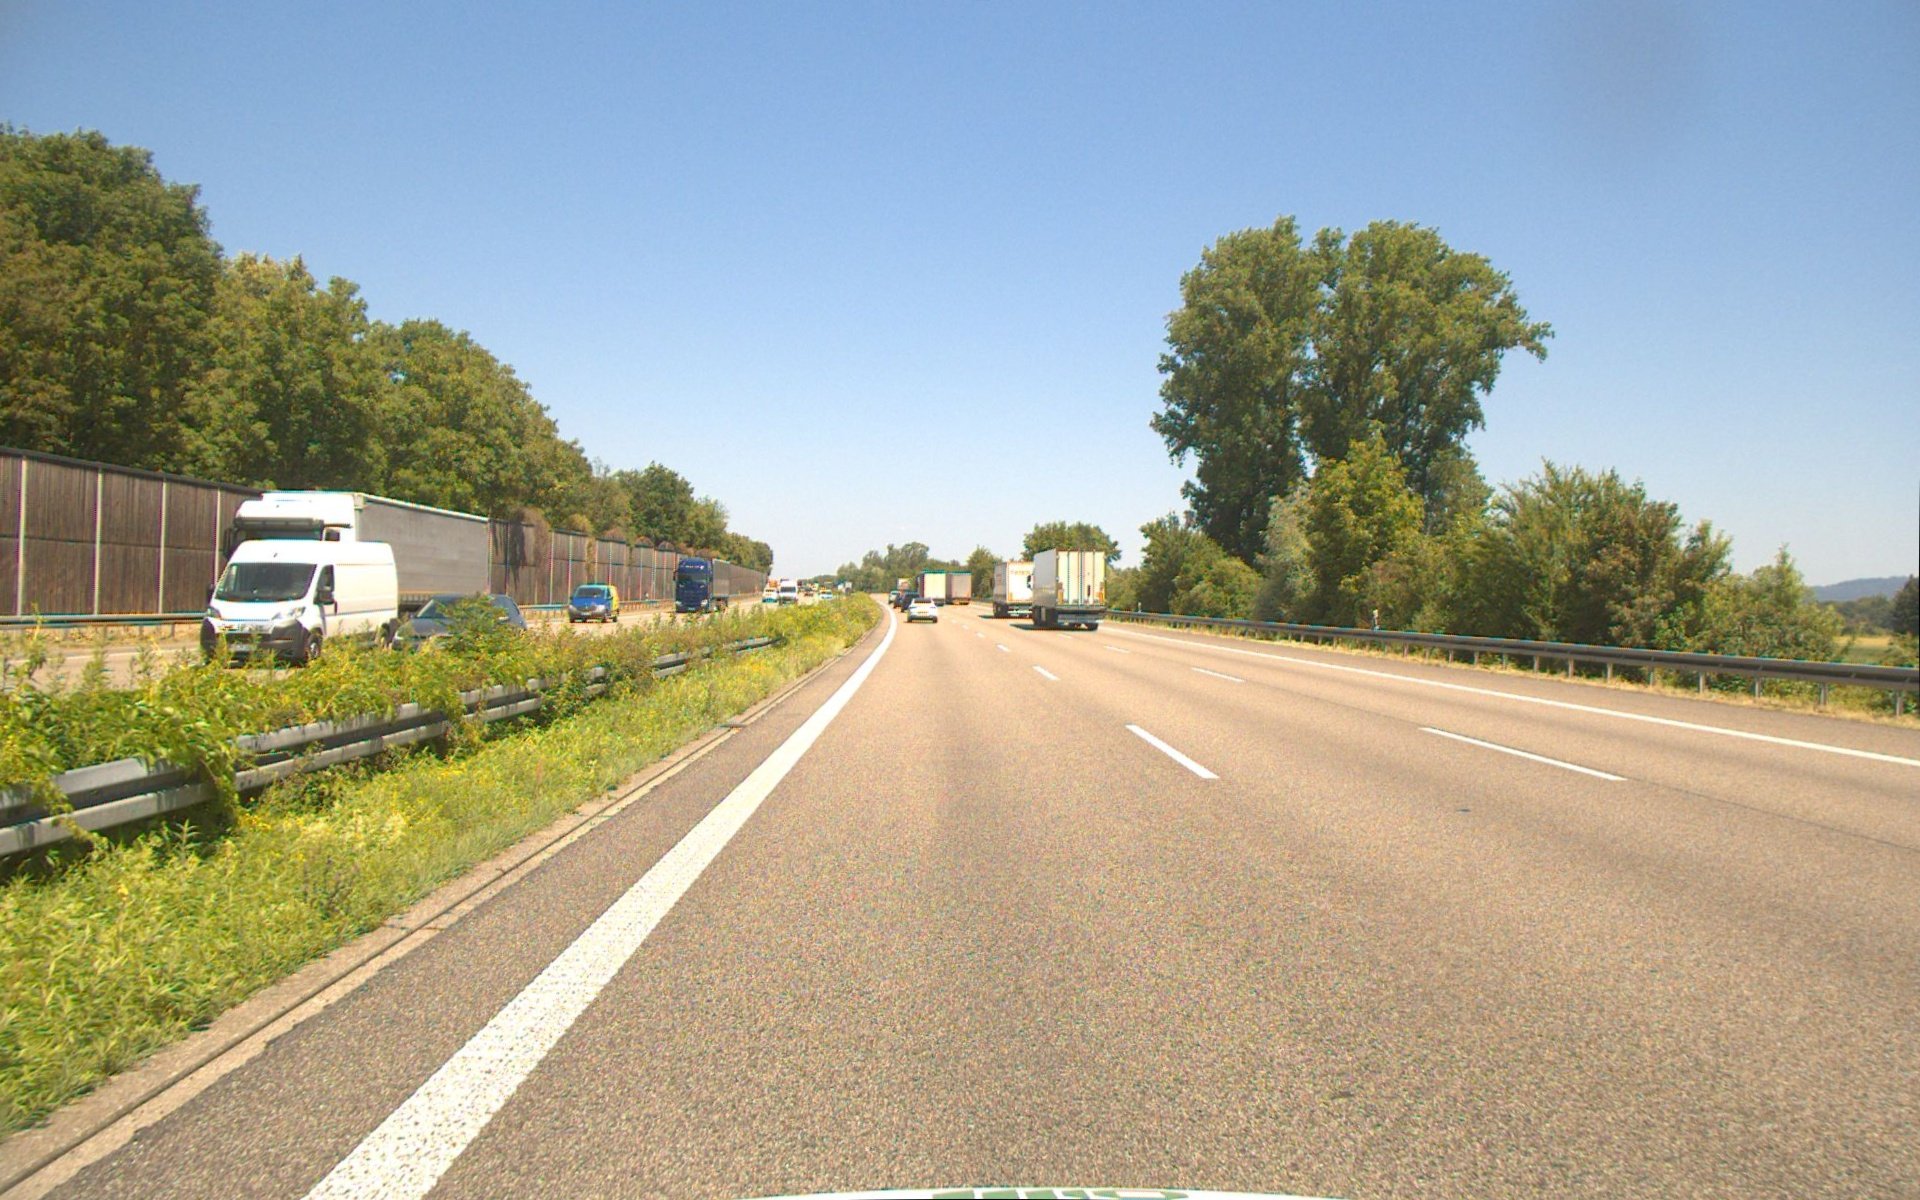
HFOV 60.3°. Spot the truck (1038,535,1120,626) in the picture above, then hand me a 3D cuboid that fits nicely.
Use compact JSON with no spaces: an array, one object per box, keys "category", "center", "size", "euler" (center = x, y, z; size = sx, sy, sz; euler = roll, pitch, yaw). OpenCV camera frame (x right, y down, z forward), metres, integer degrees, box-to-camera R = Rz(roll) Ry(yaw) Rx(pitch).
[{"category":"truck","center":[6.099,-0.909,86.615],"size":[3.421,4.387,10.987],"euler":[1,0,0]}]

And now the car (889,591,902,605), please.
[{"category":"car","center":[-8.420,-0.298,216.581],"size":[1.689,1.814,3.998],"euler":[1,0,-3]}]

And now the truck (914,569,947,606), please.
[{"category":"truck","center":[-3.664,-1.446,202.537],"size":[3.508,4.387,12.182],"euler":[1,0,-3]}]

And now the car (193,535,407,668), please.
[{"category":"car","center":[-13.189,0.028,33.542],"size":[2.038,2.444,6.040],"euler":[1,0,-2]}]

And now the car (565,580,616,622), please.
[{"category":"car","center":[-18.785,0.046,84.233],"size":[1.765,2.049,3.998],"euler":[1,0,-2]}]

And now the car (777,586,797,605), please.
[{"category":"car","center":[-18.738,-0.474,178.825],"size":[1.954,2.049,3.997],"euler":[1,0,-4]}]

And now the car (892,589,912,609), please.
[{"category":"car","center":[-6.088,-0.100,173.748],"size":[1.953,2.049,3.999],"euler":[1,0,-1]}]

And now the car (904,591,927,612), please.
[{"category":"car","center":[-3.970,0.125,147.802],"size":[1.953,1.803,3.999],"euler":[1,0,-1]}]

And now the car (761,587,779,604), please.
[{"category":"car","center":[-24.635,-0.587,214.641],"size":[1.953,2.049,3.999],"euler":[1,0,0]}]

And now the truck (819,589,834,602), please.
[{"category":"truck","center":[-16.210,-0.561,201.583],"size":[1.782,1.550,3.624],"euler":[1,0,-5]}]

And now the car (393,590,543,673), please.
[{"category":"car","center":[-9.262,0.559,31.459],"size":[1.724,1.453,3.934],"euler":[1,0,-1]}]

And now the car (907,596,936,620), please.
[{"category":"car","center":[-2.307,0.473,100.360],"size":[1.680,1.393,3.374],"euler":[1,0,0]}]

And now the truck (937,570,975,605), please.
[{"category":"truck","center":[-0.618,-1.606,220.945],"size":[3.757,4.387,11.537],"euler":[1,0,-6]}]

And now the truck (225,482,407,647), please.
[{"category":"truck","center":[-17.213,-0.889,44.653],"size":[2.451,4.126,6.361],"euler":[1,0,-1]}]

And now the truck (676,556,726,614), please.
[{"category":"truck","center":[-19.634,-1.094,125.765],"size":[2.558,4.200,10.275],"euler":[1,0,-2]}]

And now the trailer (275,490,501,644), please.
[{"category":"trailer","center":[-17.262,-0.888,51.279],"size":[2.453,4.104,13.418],"euler":[1,0,-1]}]

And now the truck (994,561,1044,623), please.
[{"category":"truck","center":[4.361,-0.508,124.093],"size":[3.291,4.387,10.827],"euler":[1,0,0]}]
